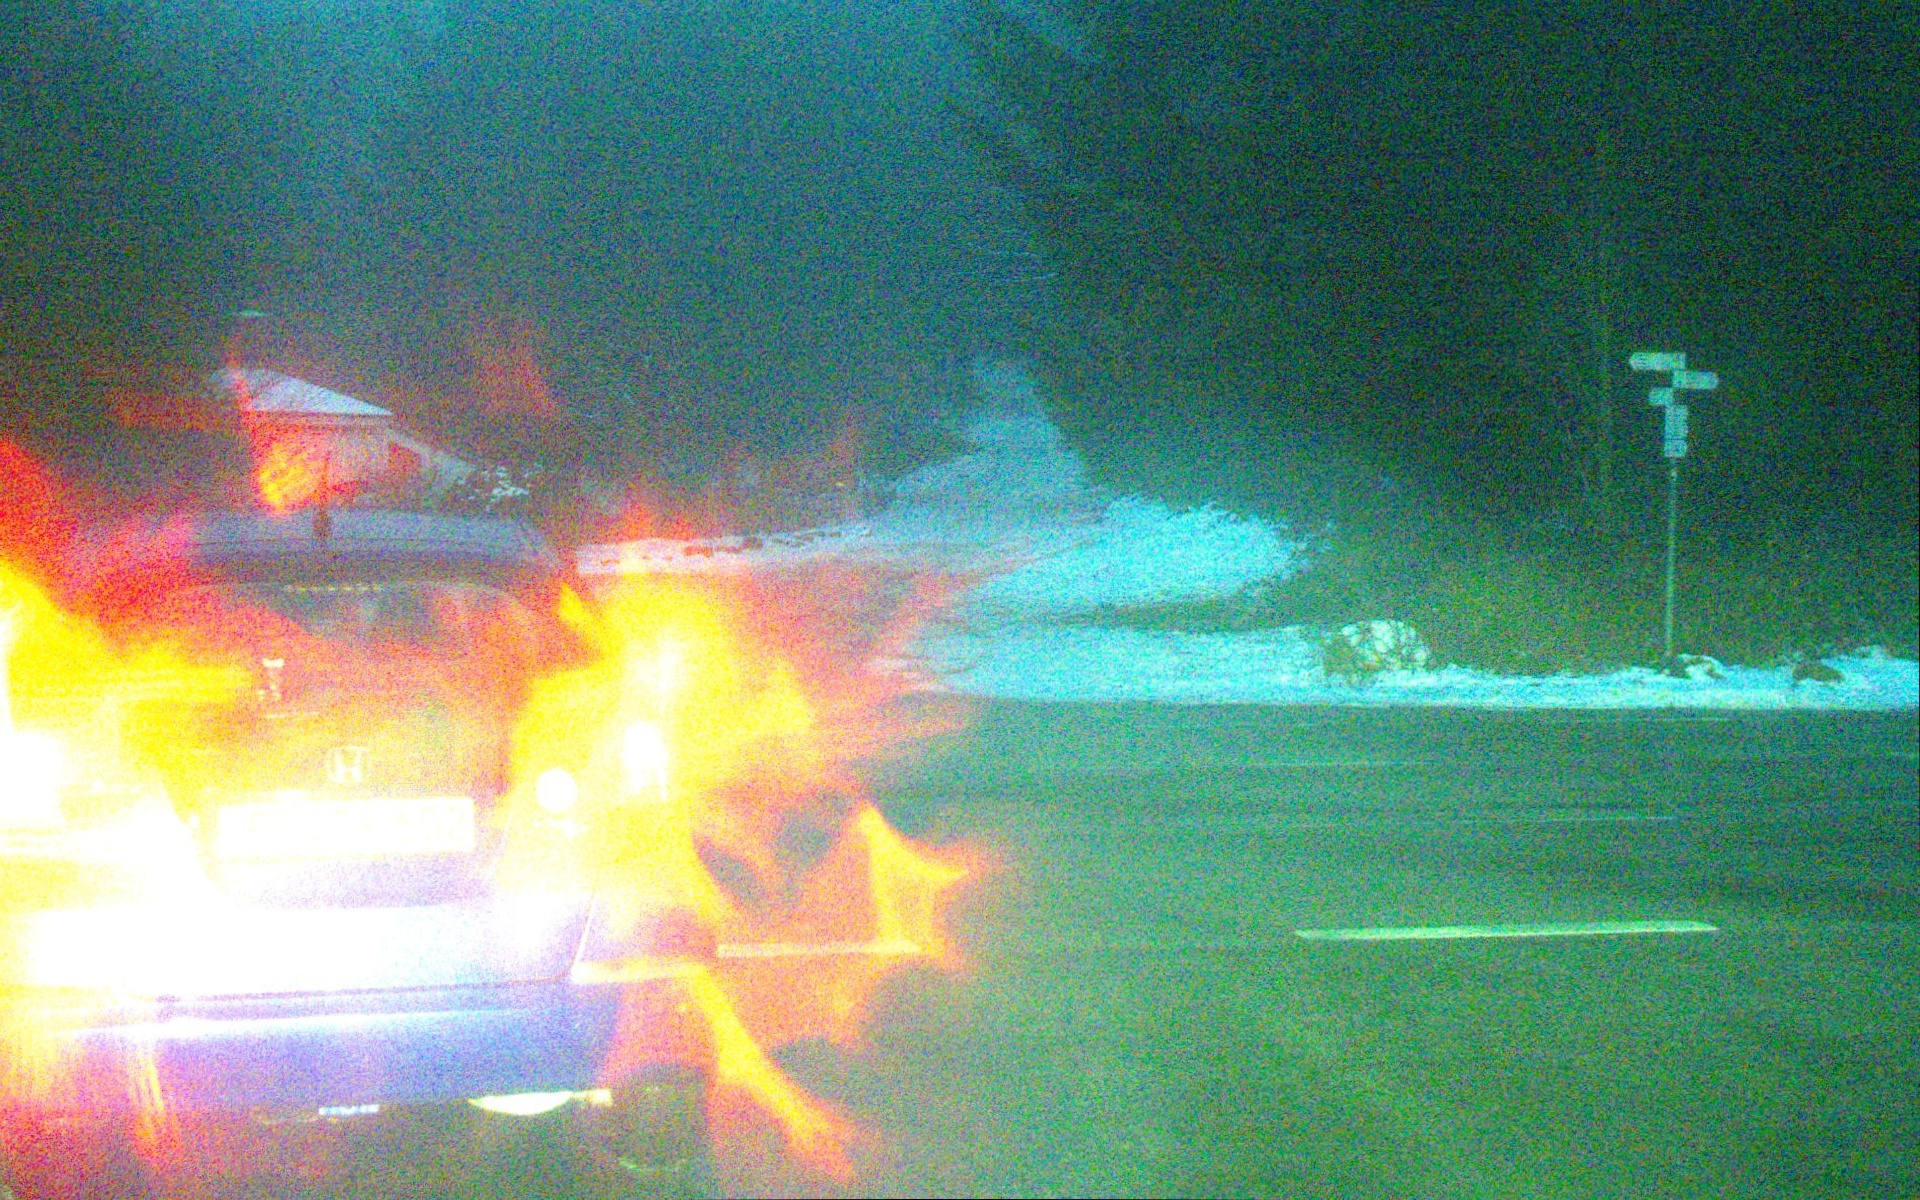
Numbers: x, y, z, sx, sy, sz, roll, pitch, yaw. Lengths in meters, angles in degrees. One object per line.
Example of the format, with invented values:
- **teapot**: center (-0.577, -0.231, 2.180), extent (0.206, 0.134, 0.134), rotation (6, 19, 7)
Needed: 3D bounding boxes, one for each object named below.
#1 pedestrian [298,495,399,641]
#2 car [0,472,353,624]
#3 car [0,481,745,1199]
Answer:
- **pedestrian**: center (-7.725, -0.405, 43.427), extent (0.961, 1.821, 0.924), rotation (1, 0, 12)
- **car**: center (-10.008, -0.663, 44.084), extent (3.948, 1.875, 1.999), rotation (1, 0, 8)
- **car**: center (-1.793, 0.495, 8.783), extent (1.692, 1.547, 3.857), rotation (0, 1, -16)
